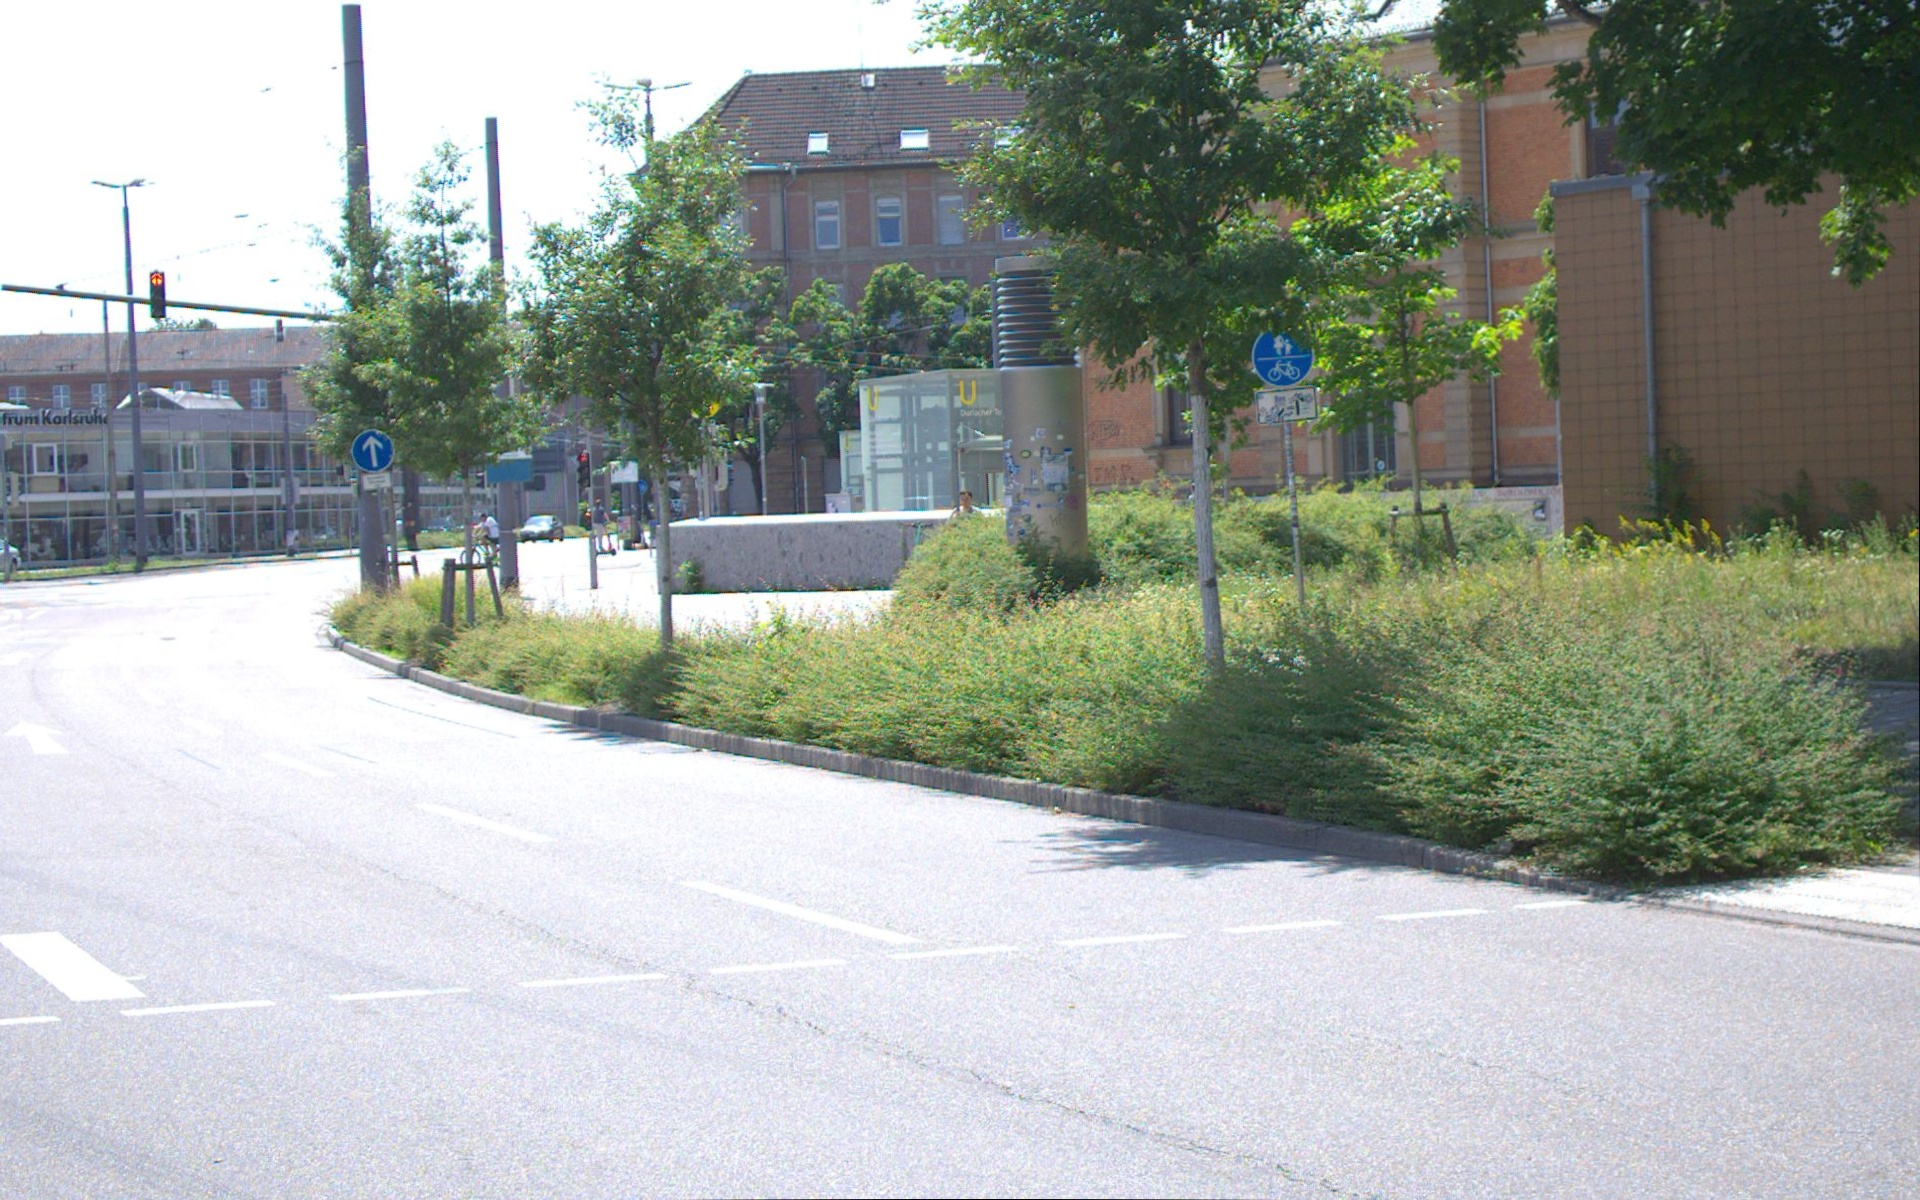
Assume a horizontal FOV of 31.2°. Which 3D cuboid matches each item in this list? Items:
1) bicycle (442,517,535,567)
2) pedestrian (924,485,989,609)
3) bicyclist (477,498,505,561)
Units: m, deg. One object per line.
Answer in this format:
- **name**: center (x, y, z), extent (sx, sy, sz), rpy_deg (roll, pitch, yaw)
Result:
- **bicycle**: center (-14.764, -1.820, 107.652), extent (2.825, 1.458, 0.634), rpy_deg (-2, 3, -14)
- **pedestrian**: center (-0.048, -0.742, 47.757), extent (0.732, 1.700, 0.811), rpy_deg (-1, 2, -11)
- **bicyclist**: center (-14.700, -2.215, 107.673), extent (0.763, 1.931, 0.660), rpy_deg (-1, 3, -14)
